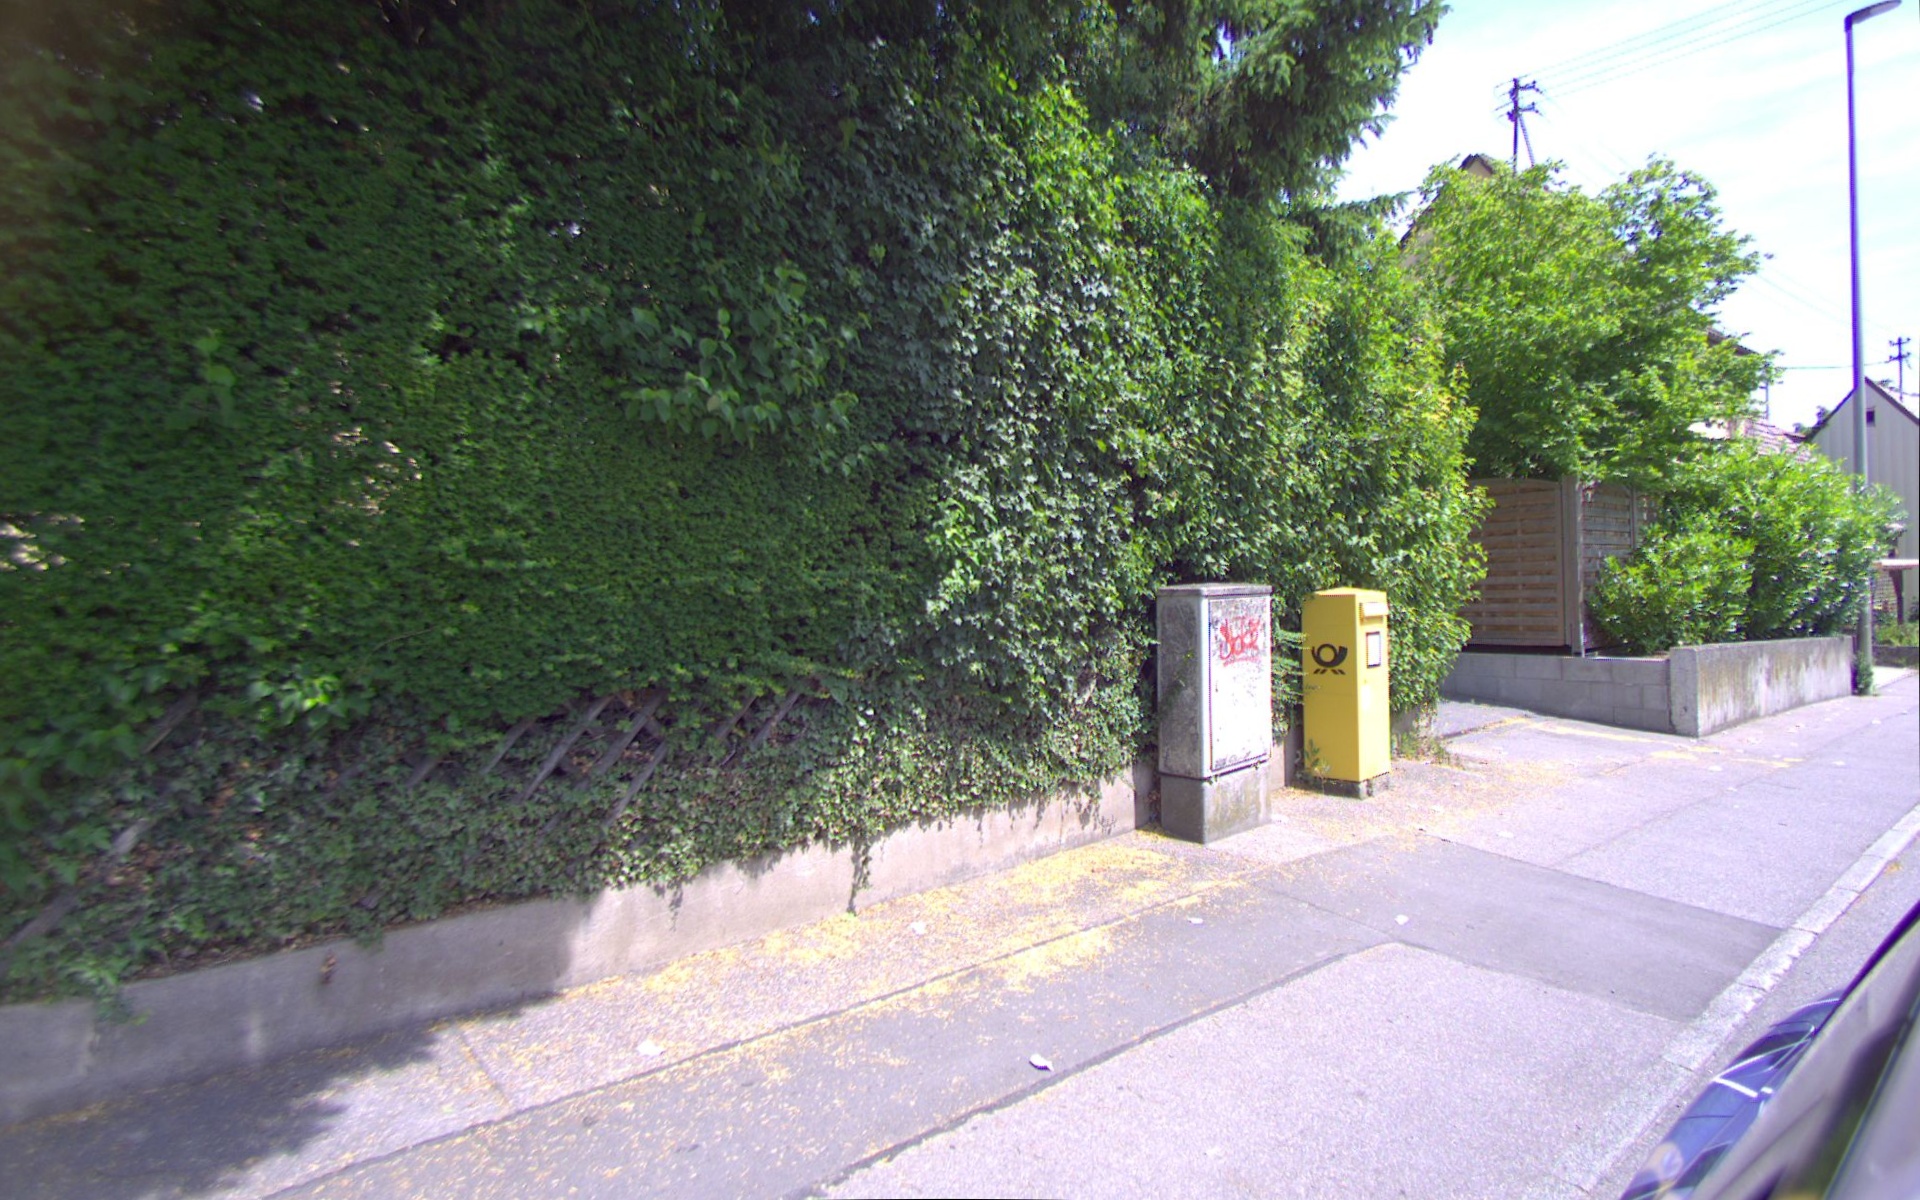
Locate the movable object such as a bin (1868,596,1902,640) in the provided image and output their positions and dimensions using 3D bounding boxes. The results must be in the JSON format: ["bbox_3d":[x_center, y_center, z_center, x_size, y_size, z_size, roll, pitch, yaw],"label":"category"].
[{"bbox_3d":[26.063,0.498,28.511,0.539,1.171,0.536,0,6,-40],"label":"movable object such as a bin"}]
